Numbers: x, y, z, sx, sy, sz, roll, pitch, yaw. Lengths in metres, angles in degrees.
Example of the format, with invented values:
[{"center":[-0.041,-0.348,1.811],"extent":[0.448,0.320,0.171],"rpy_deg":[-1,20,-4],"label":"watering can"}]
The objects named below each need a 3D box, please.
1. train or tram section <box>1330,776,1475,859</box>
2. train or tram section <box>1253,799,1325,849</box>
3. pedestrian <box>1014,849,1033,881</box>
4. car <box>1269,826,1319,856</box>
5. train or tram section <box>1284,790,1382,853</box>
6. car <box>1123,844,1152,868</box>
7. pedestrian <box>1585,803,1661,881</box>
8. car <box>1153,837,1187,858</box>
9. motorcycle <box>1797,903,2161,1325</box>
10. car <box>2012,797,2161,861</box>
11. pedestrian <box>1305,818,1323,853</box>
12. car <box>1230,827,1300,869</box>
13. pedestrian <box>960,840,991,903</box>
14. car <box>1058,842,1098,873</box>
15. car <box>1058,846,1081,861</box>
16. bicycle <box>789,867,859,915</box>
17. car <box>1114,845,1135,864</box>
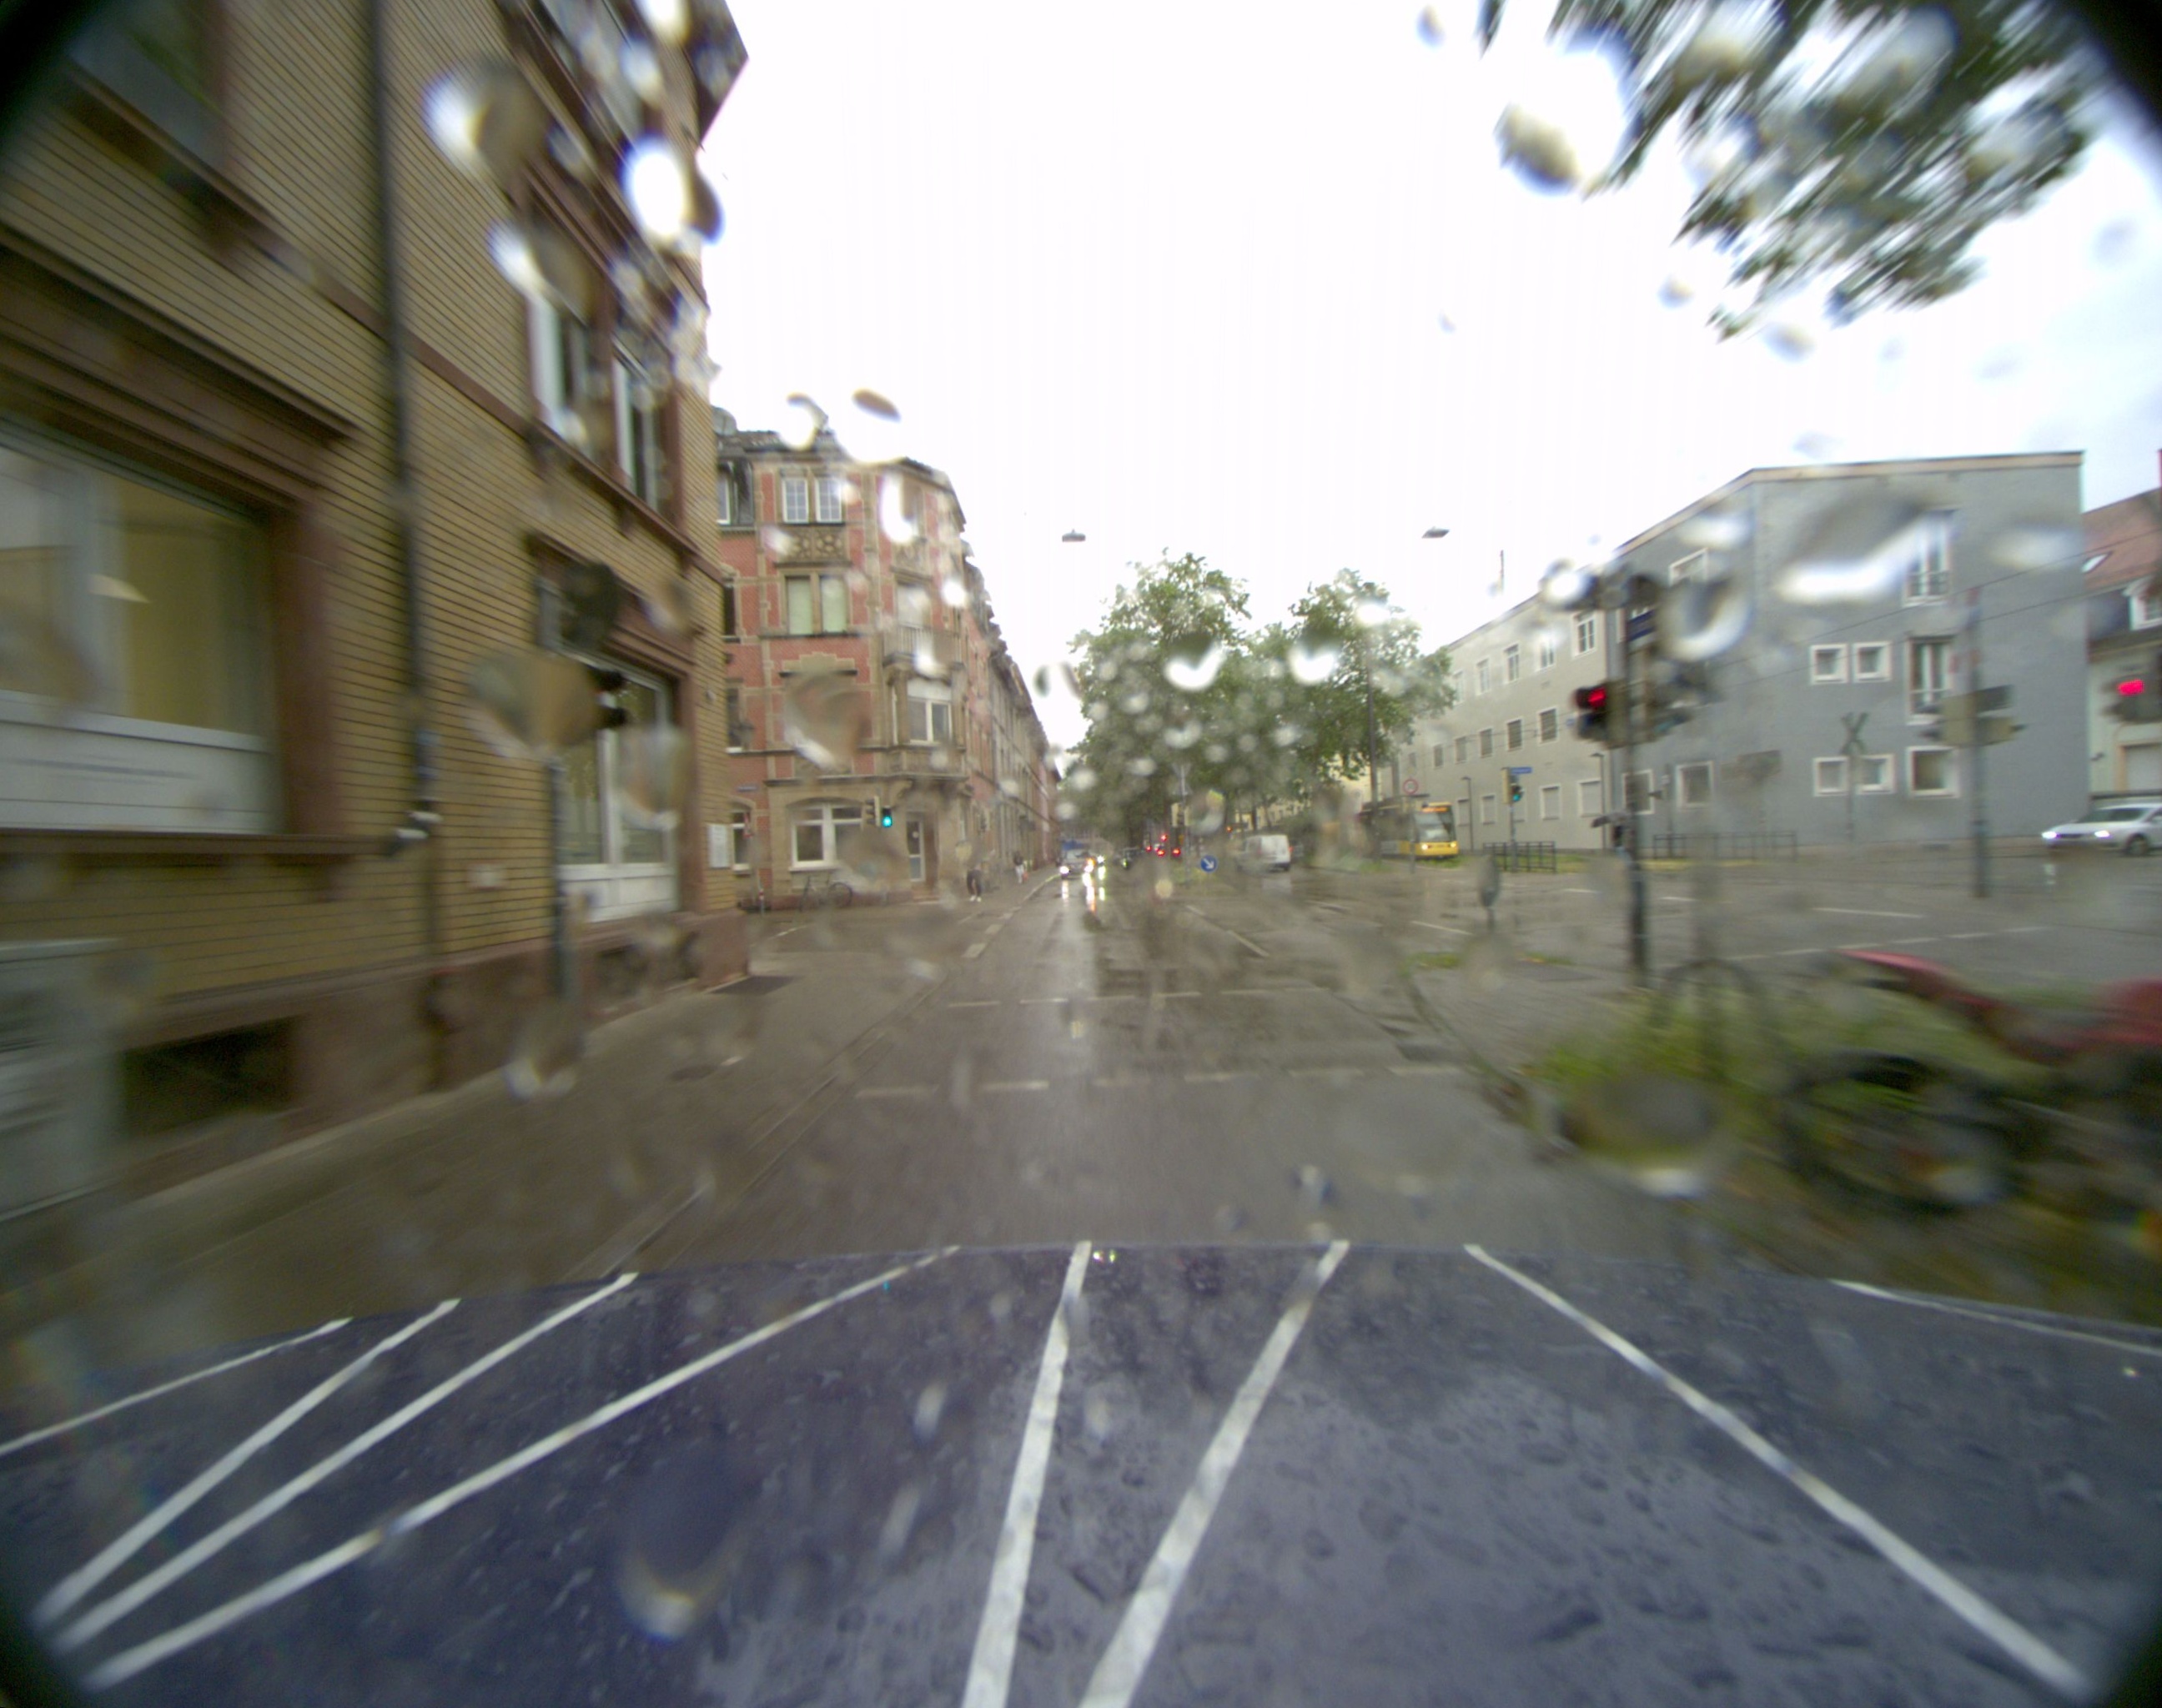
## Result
[{"center":[16.817,-1.859,41.012],"extent":[2.907,3.622,11.549],"rpy_deg":[-5,1,1],"label":"train or tram section"},{"center":[17.295,-2.465,64.123],"extent":[2.907,3.622,11.549],"rpy_deg":[-5,1,1],"label":"train or tram section"},{"center":[-2.854,0.550,37.530],"extent":[0.849,1.565,0.576],"rpy_deg":[1,2,1],"label":"pedestrian"},{"center":[12.494,-0.749,44.850],"extent":[1.676,1.500,3.973],"rpy_deg":[-7,1,1],"label":"car"},{"center":[17.041,-2.161,52.545],"extent":[2.907,3.622,11.549],"rpy_deg":[-5,1,1],"label":"train or tram section"},{"center":[4.006,0.106,53.959],"extent":[1.732,1.474,4.005],"rpy_deg":[-4,1,1],"label":"car"},{"center":[13.247,-0.308,18.597],"extent":[0.938,1.790,1.205],"rpy_deg":[-4,2,0],"label":"pedestrian"},{"center":[7.854,-0.577,67.635],"extent":[2.062,1.609,4.671],"rpy_deg":[-4,1,-4],"label":"car"},{"center":[3.801,0.812,2.426],"extent":[0.870,1.202,2.137],"rpy_deg":[-7,2,-45],"label":"motorcycle"},{"center":[29.206,-0.743,21.250],"extent":[4.088,1.519,1.887],"rpy_deg":[-4,1,-2],"label":"car"},{"center":[12.517,-0.987,40.894],"extent":[0.663,1.845,0.635],"rpy_deg":[-4,2,2],"label":"pedestrian"},{"center":[9.097,-0.307,37.988],"extent":[1.938,1.839,4.063],"rpy_deg":[-4,1,-8],"label":"car"},{"center":[-3.246,0.530,23.445],"extent":[0.787,1.903,0.929],"rpy_deg":[0,2,0],"label":"pedestrian"},{"center":[-0.116,0.147,44.986],"extent":[1.976,1.629,4.161],"rpy_deg":[-4,1,4],"label":"car"},{"center":[-1.073,-0.031,74.963],"extent":[1.976,1.359,4.161],"rpy_deg":[1,1,3],"label":"car"},{"center":[-7.395,1.059,21.907],"extent":[1.691,1.215,0.678],"rpy_deg":[-5,2,-6],"label":"bicycle"},{"center":[4.190,0.038,72.963],"extent":[1.663,1.567,3.423],"rpy_deg":[-4,1,7],"label":"car"}]
